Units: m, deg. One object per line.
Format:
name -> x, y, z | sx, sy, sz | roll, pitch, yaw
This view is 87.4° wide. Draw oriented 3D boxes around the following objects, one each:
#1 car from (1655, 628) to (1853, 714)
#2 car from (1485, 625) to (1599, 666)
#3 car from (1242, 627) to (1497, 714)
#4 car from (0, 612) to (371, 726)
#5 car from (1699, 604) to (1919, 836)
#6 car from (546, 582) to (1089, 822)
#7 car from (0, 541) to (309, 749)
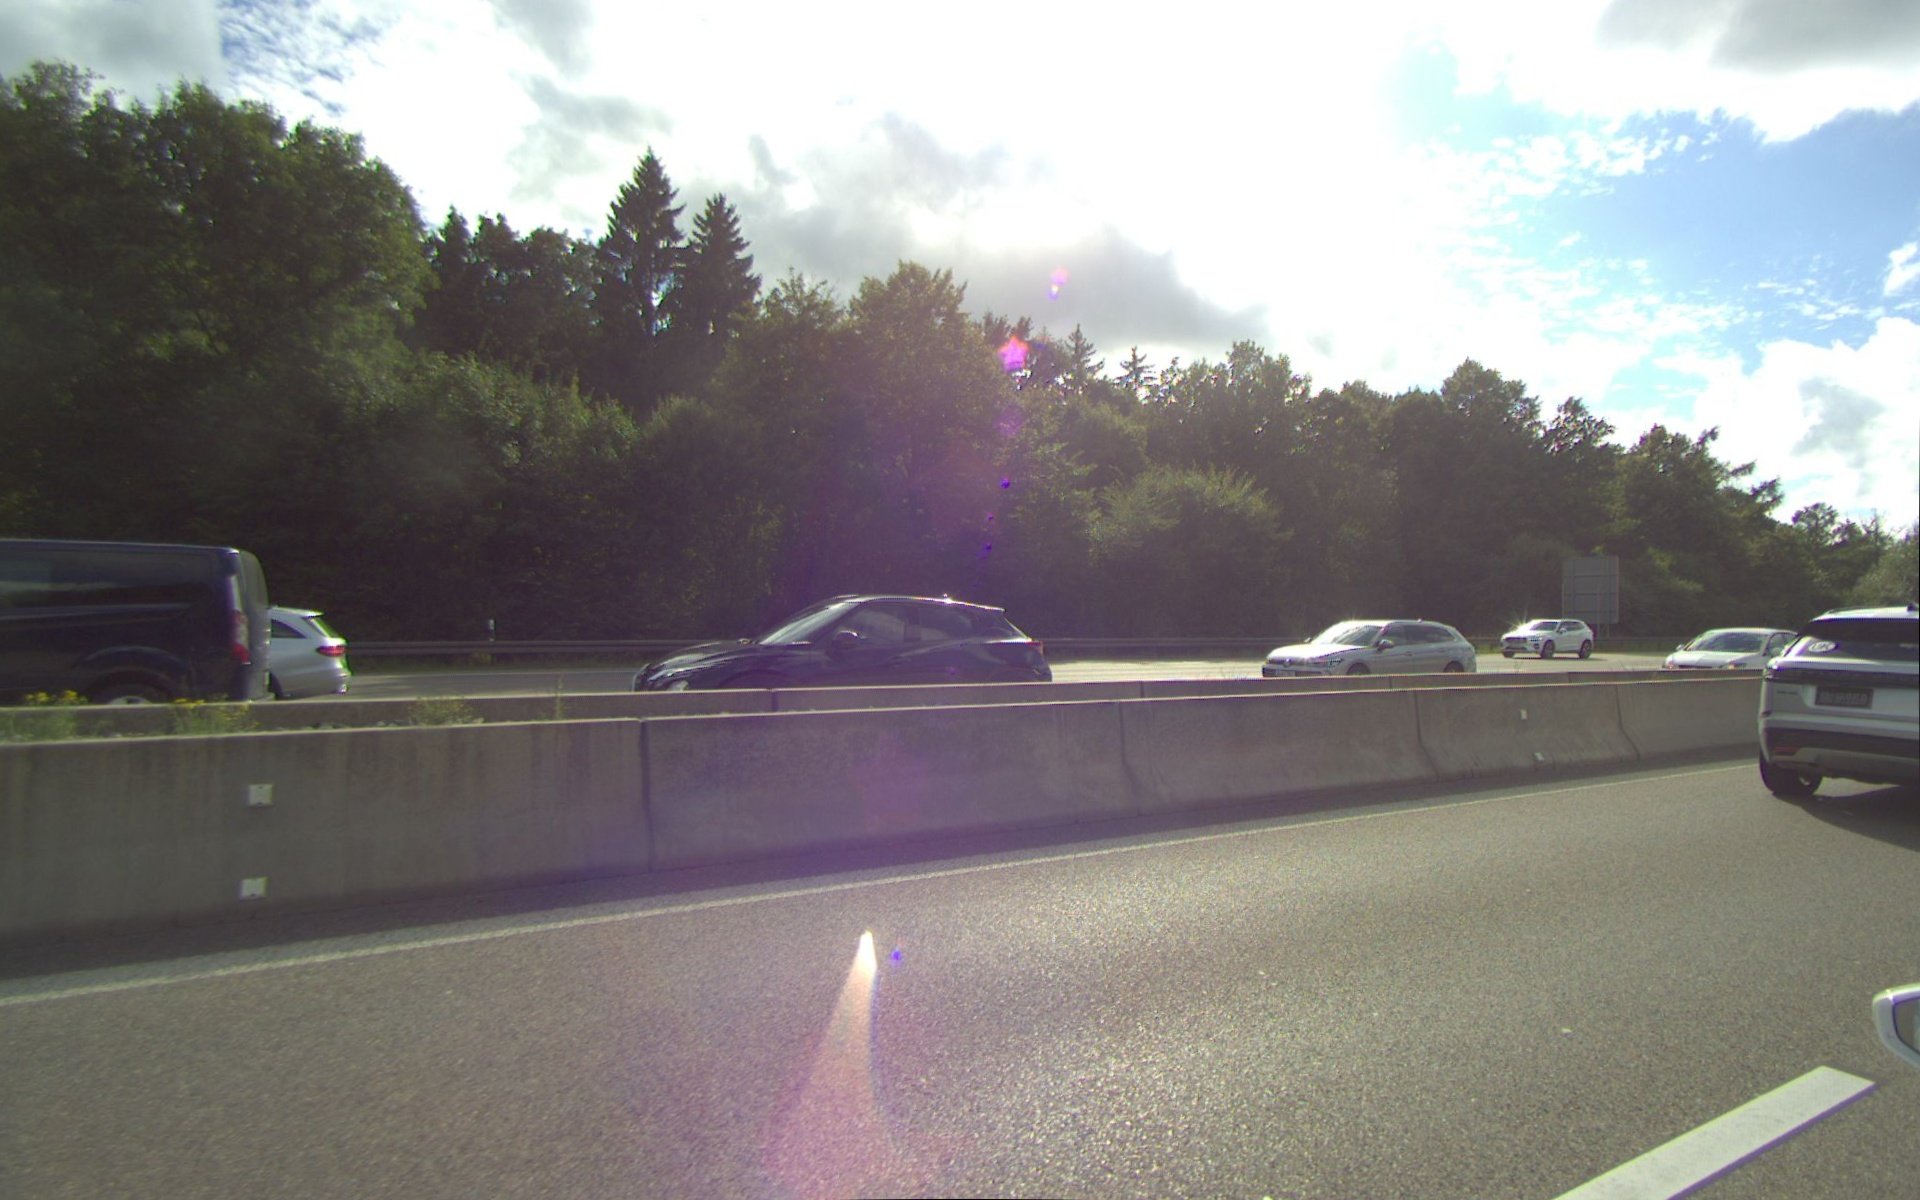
car -> 16.805, 1.427, 21.226 | 4.192, 1.662, 1.904 | 1, -2, -30
car -> 25.129, 1.942, 43.337 | 4.819, 1.658, 2.161 | 1, -2, -30
car -> 8.093, 1.301, 19.719 | 5.071, 1.504, 1.984 | 1, -1, -30
car -> -10.384, 0.853, 13.214 | 4.497, 1.319, 1.856 | 1, -2, -30
car -> 8.931, 0.914, 8.850 | 5.239, 1.638, 1.996 | 1, 0, -30
car -> -1.315, 0.844, 9.827 | 4.819, 1.825, 2.161 | 1, -1, -30
car -> -9.254, 0.400, 9.483 | 5.065, 1.829, 1.984 | 1, -1, -30
